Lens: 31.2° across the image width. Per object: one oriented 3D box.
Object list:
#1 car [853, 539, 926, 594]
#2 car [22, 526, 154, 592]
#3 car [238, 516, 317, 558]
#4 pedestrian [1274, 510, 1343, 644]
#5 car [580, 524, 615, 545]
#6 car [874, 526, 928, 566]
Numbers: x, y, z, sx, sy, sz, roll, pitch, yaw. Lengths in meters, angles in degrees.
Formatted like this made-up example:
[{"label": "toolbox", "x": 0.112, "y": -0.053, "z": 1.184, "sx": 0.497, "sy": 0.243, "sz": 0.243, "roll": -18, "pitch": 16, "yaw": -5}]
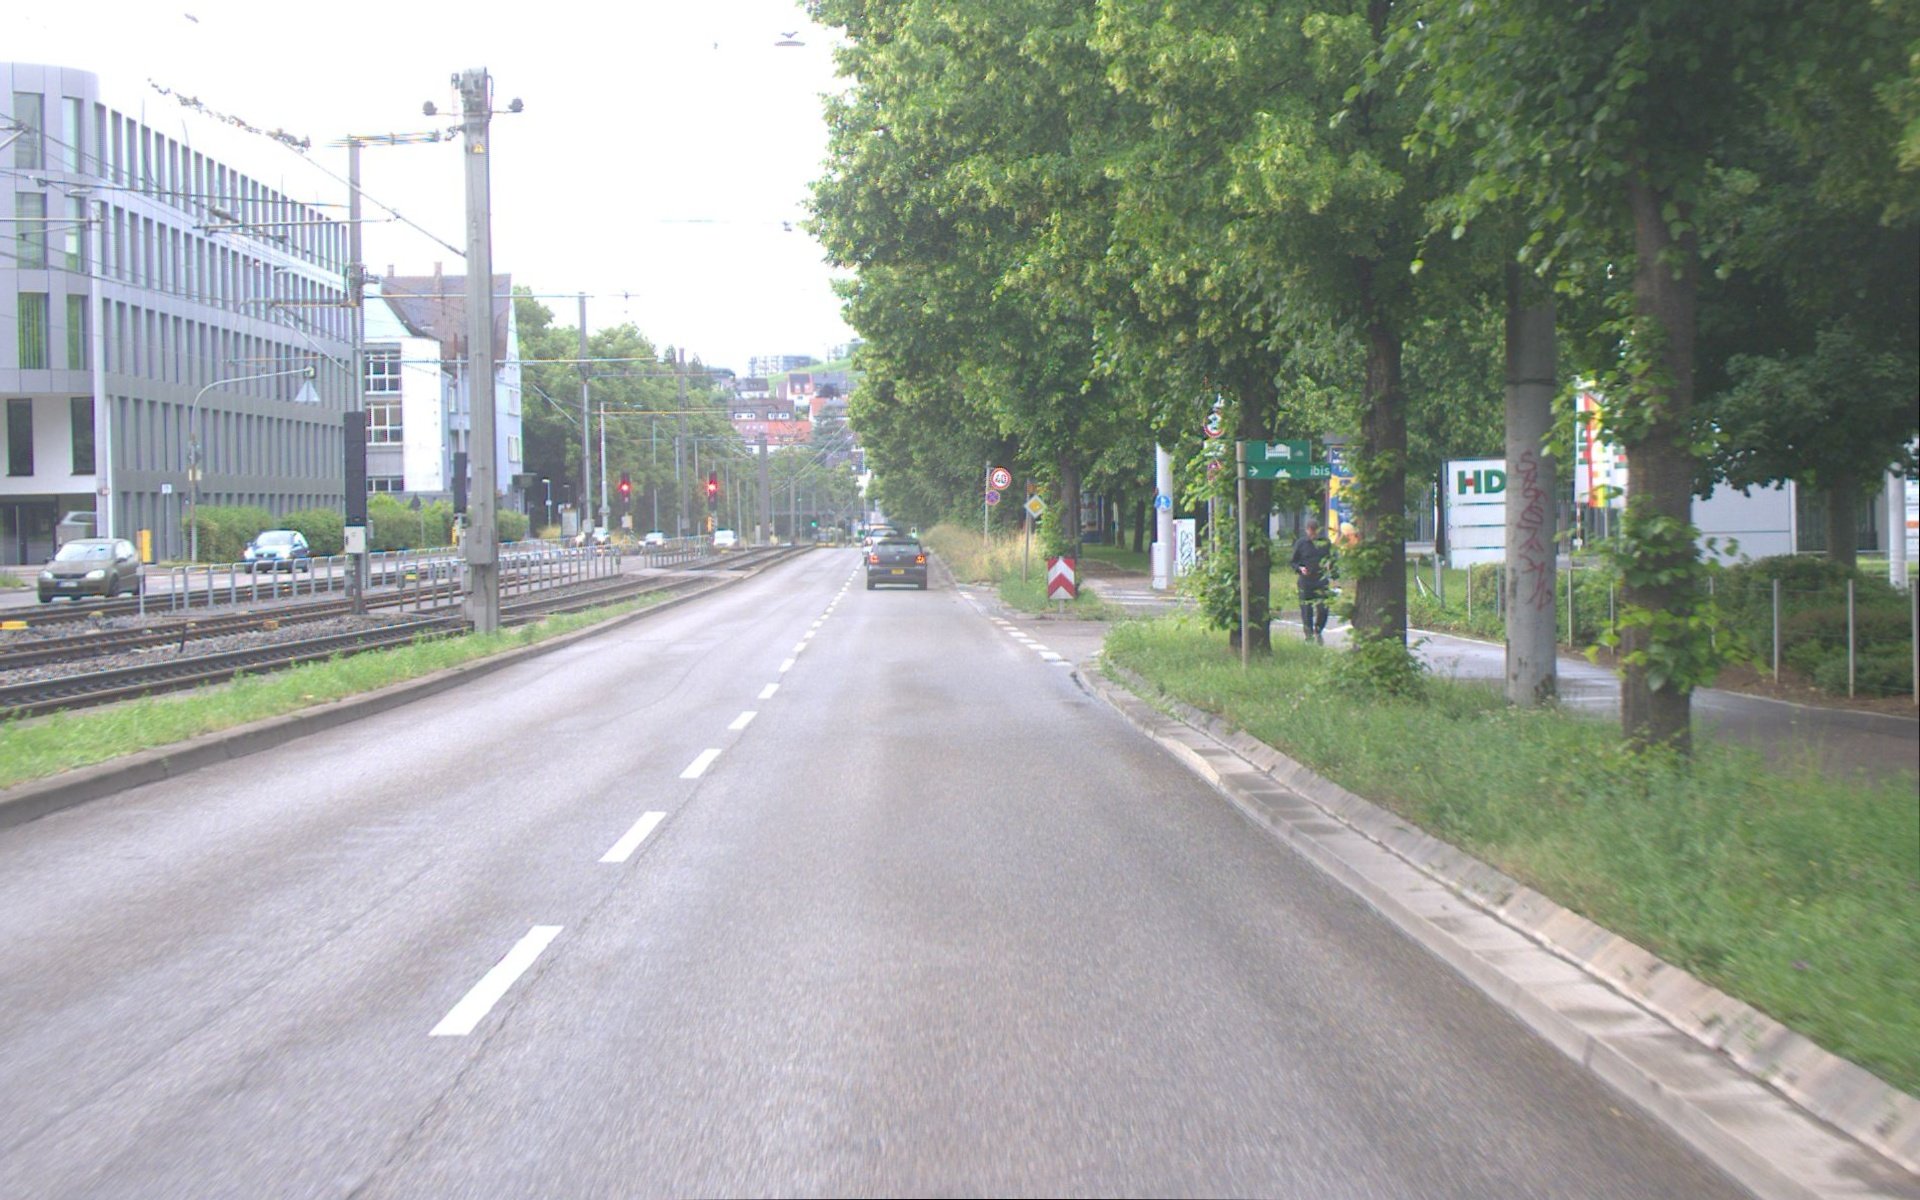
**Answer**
[{"label": "car", "x": -1.941, "y": -0.959, "z": 95.569, "sx": 1.982, "sy": 1.435, "sz": 4.474, "roll": -1, "pitch": 1, "yaw": -1}, {"label": "car", "x": -20.619, "y": -0.987, "z": 81.411, "sx": 1.891, "sy": 1.481, "sz": 4.308, "roll": -1, "pitch": 1, "yaw": 2}, {"label": "car", "x": -23.154, "y": -2.150, "z": 116.695, "sx": 1.761, "sy": 1.392, "sz": 3.900, "roll": -1, "pitch": 1, "yaw": 2}, {"label": "pedestrian", "x": 4.697, "y": -0.316, "z": 46.387, "sx": 0.826, "sy": 1.791, "sz": 0.868, "roll": 0, "pitch": 1, "yaw": 0}, {"label": "car", "x": -21.894, "y": -3.958, "z": 207.736, "sx": 1.756, "sy": 1.239, "sz": 3.988, "roll": -1, "pitch": 1, "yaw": -1}, {"label": "car", "x": -2.244, "y": -2.075, "z": 131.476, "sx": 1.982, "sy": 1.435, "sz": 4.474, "roll": -1, "pitch": 1, "yaw": -1}]
